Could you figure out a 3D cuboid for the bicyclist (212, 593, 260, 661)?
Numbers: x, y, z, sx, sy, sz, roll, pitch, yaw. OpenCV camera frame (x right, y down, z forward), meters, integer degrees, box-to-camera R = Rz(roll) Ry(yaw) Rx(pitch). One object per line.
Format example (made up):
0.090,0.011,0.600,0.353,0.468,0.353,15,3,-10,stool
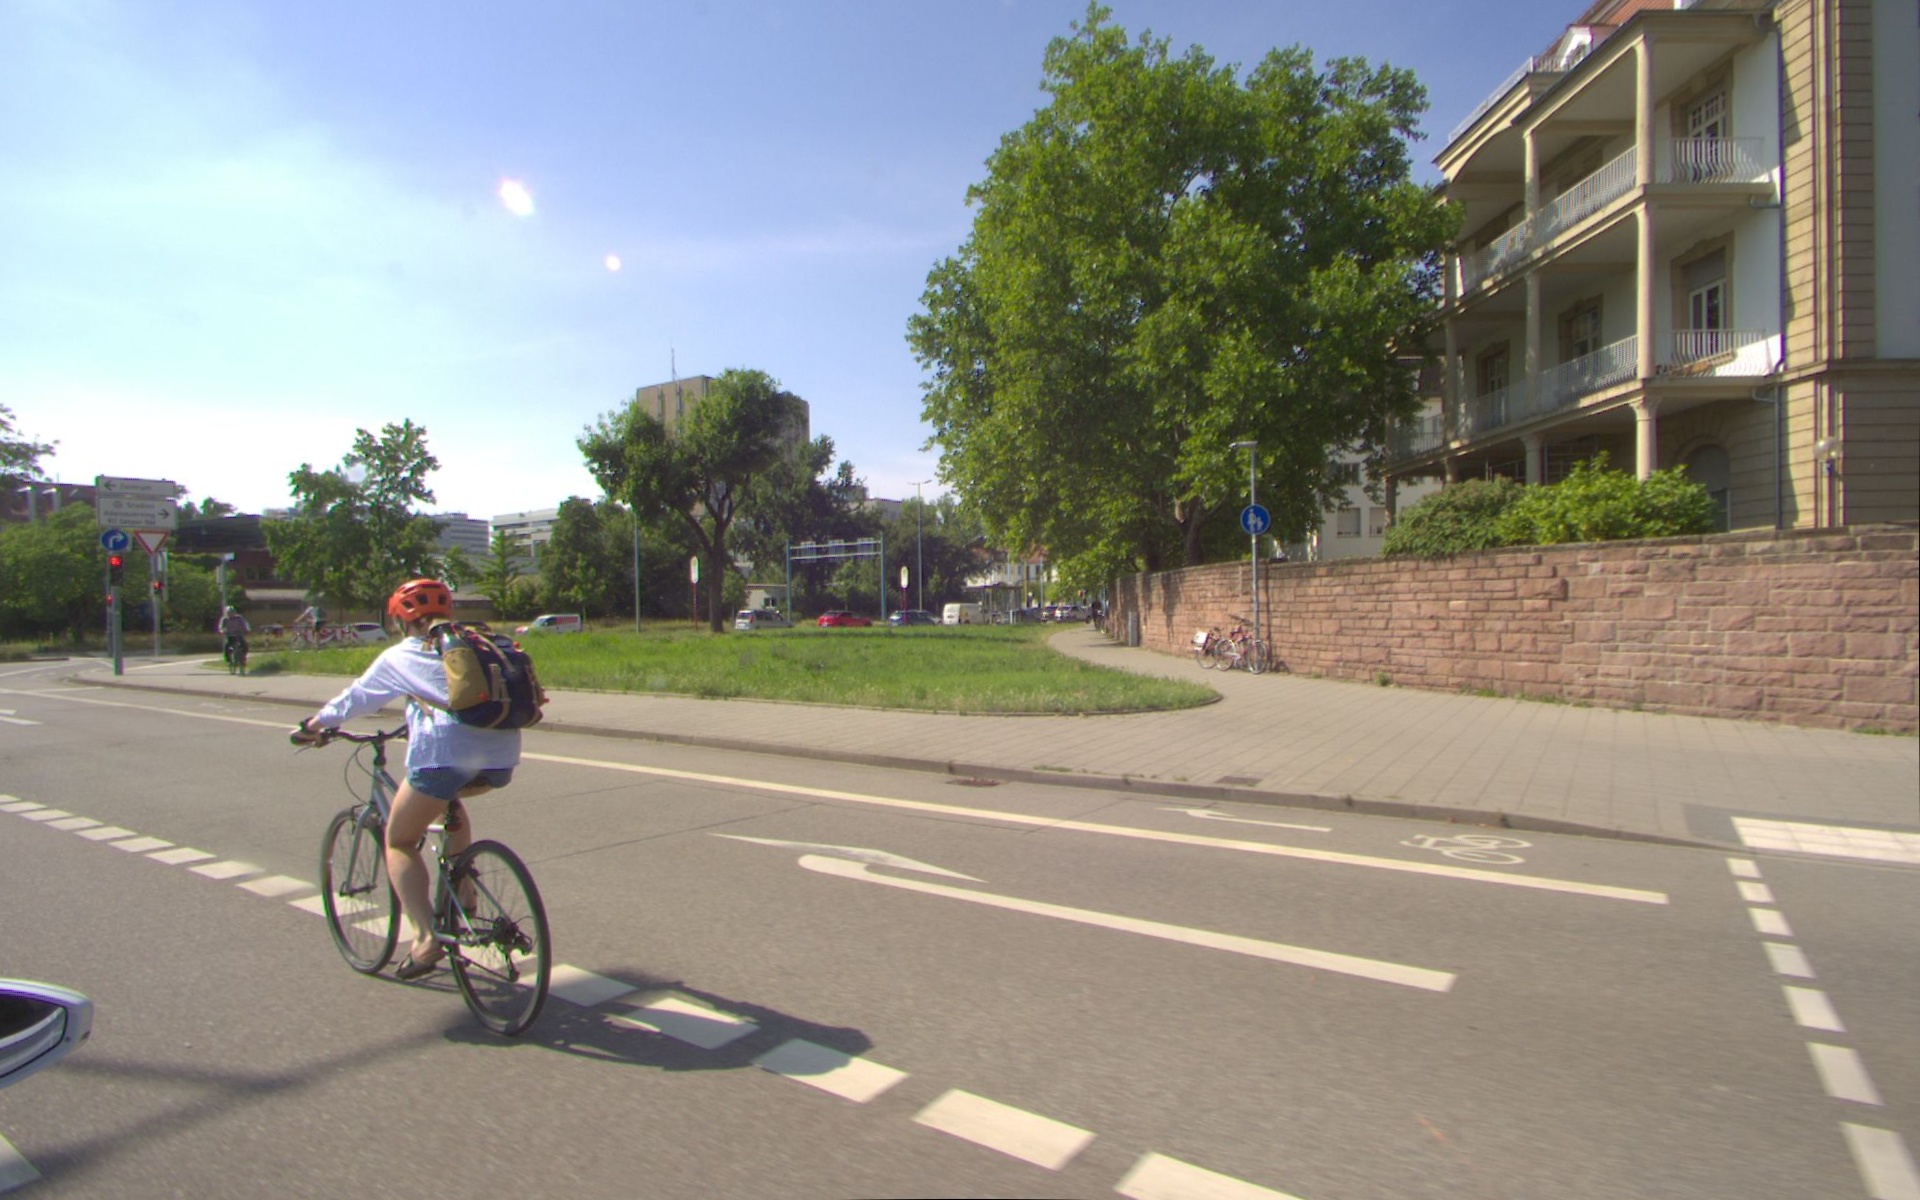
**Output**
-18.250,0.676,25.245,0.906,1.677,0.676,0,1,34,bicyclist

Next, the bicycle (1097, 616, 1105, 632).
6.702,1.126,47.599,0.334,0.738,1.364,-1,0,7,bicycle

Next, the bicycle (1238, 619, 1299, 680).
6.141,0.963,19.988,0.343,1.138,1.431,-1,1,-21,bicycle

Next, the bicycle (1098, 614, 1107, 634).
6.535,1.108,45.946,0.365,0.867,1.307,-1,0,9,bicycle

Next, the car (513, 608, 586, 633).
-27.868,1.354,68.065,1.884,1.590,4.299,0,0,34,car

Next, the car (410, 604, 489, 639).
-32.122,1.324,63.064,1.974,2.040,3.973,0,0,36,car

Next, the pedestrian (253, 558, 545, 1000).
-2.177,0.615,3.882,0.999,1.485,0.582,-1,-1,32,pedestrian

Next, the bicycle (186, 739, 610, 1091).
-2.283,1.104,3.956,1.999,0.943,0.595,-1,-1,33,bicycle

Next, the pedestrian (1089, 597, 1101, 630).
7.170,0.723,53.245,0.608,1.763,0.599,-1,1,5,pedestrian

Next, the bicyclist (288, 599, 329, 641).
-23.476,0.730,36.107,1.121,1.489,0.496,0,-2,-9,bicyclist

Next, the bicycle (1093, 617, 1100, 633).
6.856,1.243,50.352,0.334,0.738,1.364,-1,0,7,bicycle

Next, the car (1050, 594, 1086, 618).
9.883,0.538,91.489,1.968,2.040,3.985,-1,0,27,car

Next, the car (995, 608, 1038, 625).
4.754,1.363,84.143,1.730,1.357,3.971,0,0,37,car

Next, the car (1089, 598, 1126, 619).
14.522,0.838,98.506,1.974,2.040,3.974,-1,0,36,car

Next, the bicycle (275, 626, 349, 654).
-23.378,1.426,36.137,2.127,0.928,0.674,-1,1,-9,bicycle

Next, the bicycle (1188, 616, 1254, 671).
5.605,0.922,21.588,0.345,1.138,1.422,-2,1,-42,bicycle

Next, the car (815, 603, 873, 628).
-7.728,1.077,67.102,1.728,1.527,3.979,0,-3,34,car

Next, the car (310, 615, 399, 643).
-35.186,1.658,58.240,1.973,1.483,3.977,-2,-1,34,car

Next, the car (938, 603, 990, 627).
0.359,1.159,78.250,1.730,1.781,4.400,0,0,37,car

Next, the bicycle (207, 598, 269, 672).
-18.180,0.863,25.204,1.786,1.789,0.676,0,1,34,bicycle

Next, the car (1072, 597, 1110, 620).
12.470,0.792,95.394,1.974,2.040,3.974,-1,0,36,car

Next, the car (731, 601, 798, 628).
-12.039,0.879,61.826,1.728,1.528,3.976,0,0,34,car

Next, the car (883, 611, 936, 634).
-3.643,1.619,73.060,1.730,1.493,3.971,0,0,37,car
